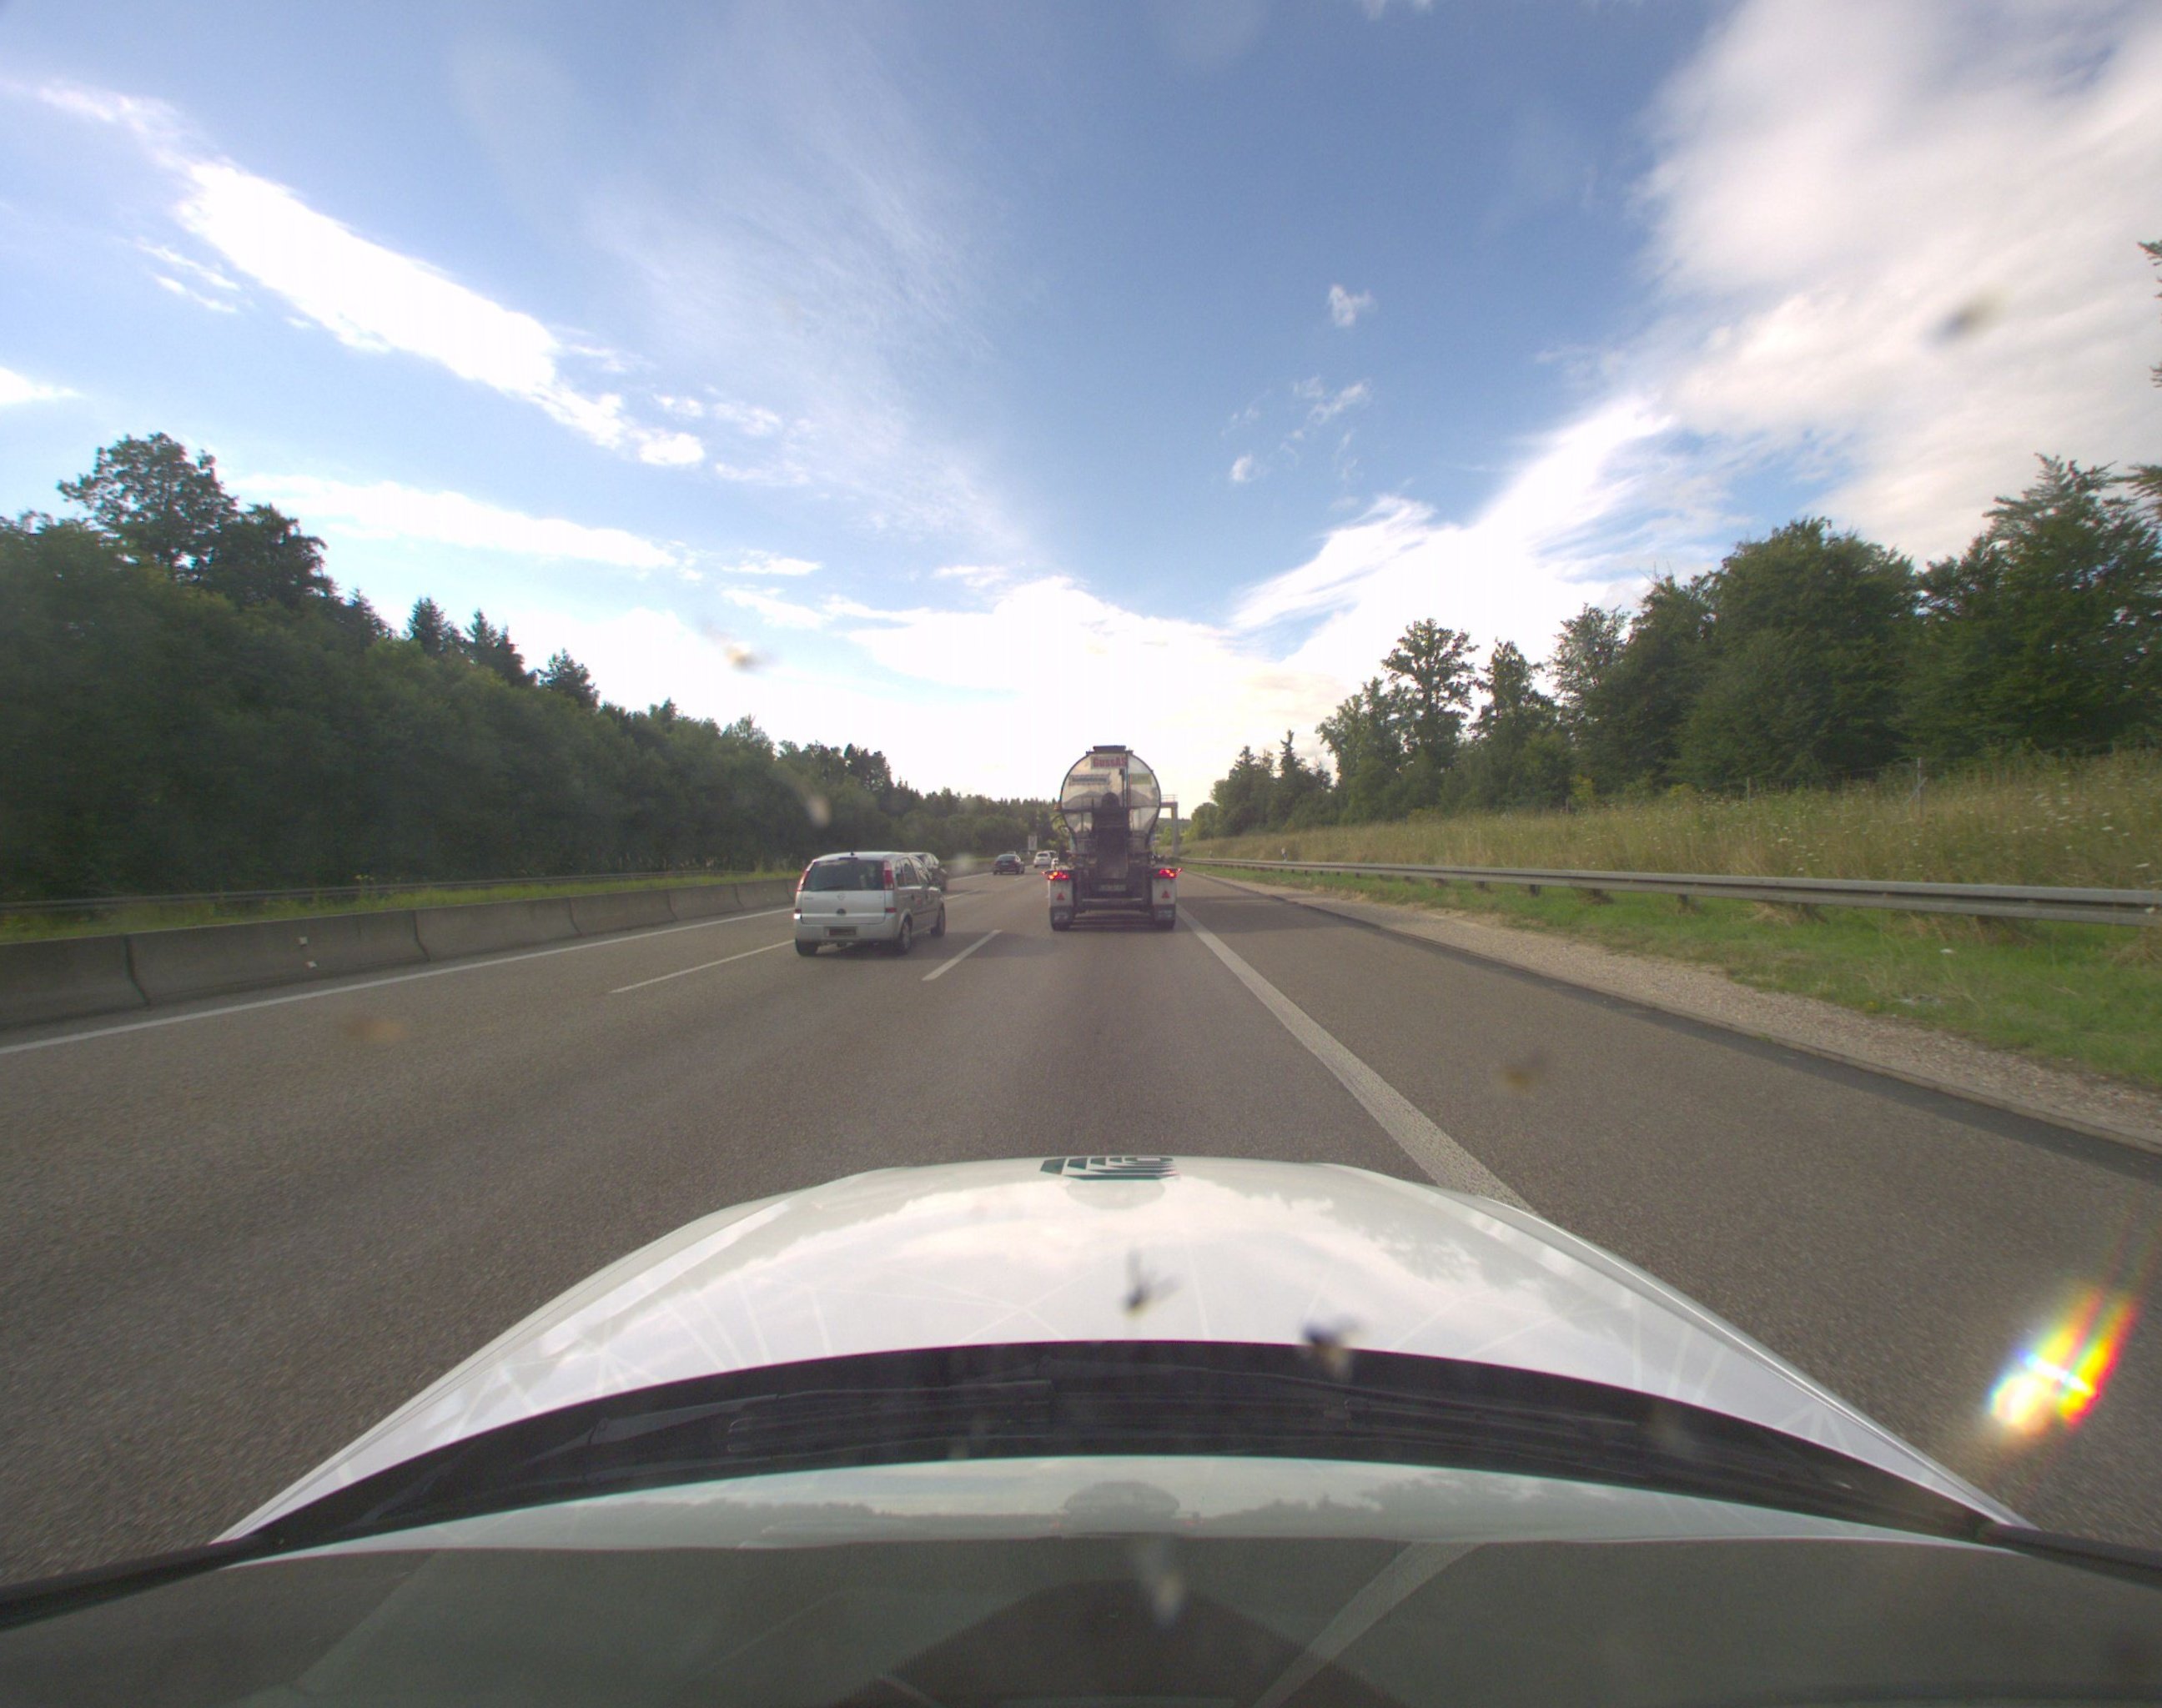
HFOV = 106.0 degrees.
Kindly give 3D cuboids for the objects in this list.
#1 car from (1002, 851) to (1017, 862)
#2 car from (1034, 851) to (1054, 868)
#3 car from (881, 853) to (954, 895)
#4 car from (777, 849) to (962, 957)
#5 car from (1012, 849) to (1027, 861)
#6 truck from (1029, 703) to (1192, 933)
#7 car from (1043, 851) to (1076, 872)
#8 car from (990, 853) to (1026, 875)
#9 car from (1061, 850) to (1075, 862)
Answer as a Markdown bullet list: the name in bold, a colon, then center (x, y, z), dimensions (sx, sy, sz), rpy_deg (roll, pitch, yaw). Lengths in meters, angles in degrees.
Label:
- **car**: center (-12.309, 0.450, 141.056), dimensions (1.986, 1.881, 4.439), rpy_deg (-1, 0, 2)
- **car**: center (-3.597, 0.540, 79.529), dimensions (1.612, 1.544, 3.521), rpy_deg (-1, 0, 2)
- **car**: center (-6.404, 0.739, 32.328), dimensions (1.828, 1.517, 4.336), rpy_deg (-1, 0, 2)
- **car**: center (-3.377, 0.701, 13.935), dimensions (1.828, 1.517, 4.336), rpy_deg (-1, 0, 2)
- **car**: center (-10.078, 0.172, 133.682), dimensions (1.986, 2.013, 4.073), rpy_deg (-1, 0, 1)
- **truck**: center (0.812, -0.687, 20.588), dimensions (2.901, 4.157, 11.278), rpy_deg (-1, 0, 3)
- **car**: center (-1.597, 0.540, 61.474), dimensions (2.052, 1.499, 5.740), rpy_deg (-1, 0, 3)
- **car**: center (-5.078, 0.645, 57.241), dimensions (1.848, 1.431, 4.844), rpy_deg (-1, 0, 3)
- **car**: center (-1.893, 0.259, 120.207), dimensions (1.800, 1.585, 4.209), rpy_deg (-1, 1, 2)
